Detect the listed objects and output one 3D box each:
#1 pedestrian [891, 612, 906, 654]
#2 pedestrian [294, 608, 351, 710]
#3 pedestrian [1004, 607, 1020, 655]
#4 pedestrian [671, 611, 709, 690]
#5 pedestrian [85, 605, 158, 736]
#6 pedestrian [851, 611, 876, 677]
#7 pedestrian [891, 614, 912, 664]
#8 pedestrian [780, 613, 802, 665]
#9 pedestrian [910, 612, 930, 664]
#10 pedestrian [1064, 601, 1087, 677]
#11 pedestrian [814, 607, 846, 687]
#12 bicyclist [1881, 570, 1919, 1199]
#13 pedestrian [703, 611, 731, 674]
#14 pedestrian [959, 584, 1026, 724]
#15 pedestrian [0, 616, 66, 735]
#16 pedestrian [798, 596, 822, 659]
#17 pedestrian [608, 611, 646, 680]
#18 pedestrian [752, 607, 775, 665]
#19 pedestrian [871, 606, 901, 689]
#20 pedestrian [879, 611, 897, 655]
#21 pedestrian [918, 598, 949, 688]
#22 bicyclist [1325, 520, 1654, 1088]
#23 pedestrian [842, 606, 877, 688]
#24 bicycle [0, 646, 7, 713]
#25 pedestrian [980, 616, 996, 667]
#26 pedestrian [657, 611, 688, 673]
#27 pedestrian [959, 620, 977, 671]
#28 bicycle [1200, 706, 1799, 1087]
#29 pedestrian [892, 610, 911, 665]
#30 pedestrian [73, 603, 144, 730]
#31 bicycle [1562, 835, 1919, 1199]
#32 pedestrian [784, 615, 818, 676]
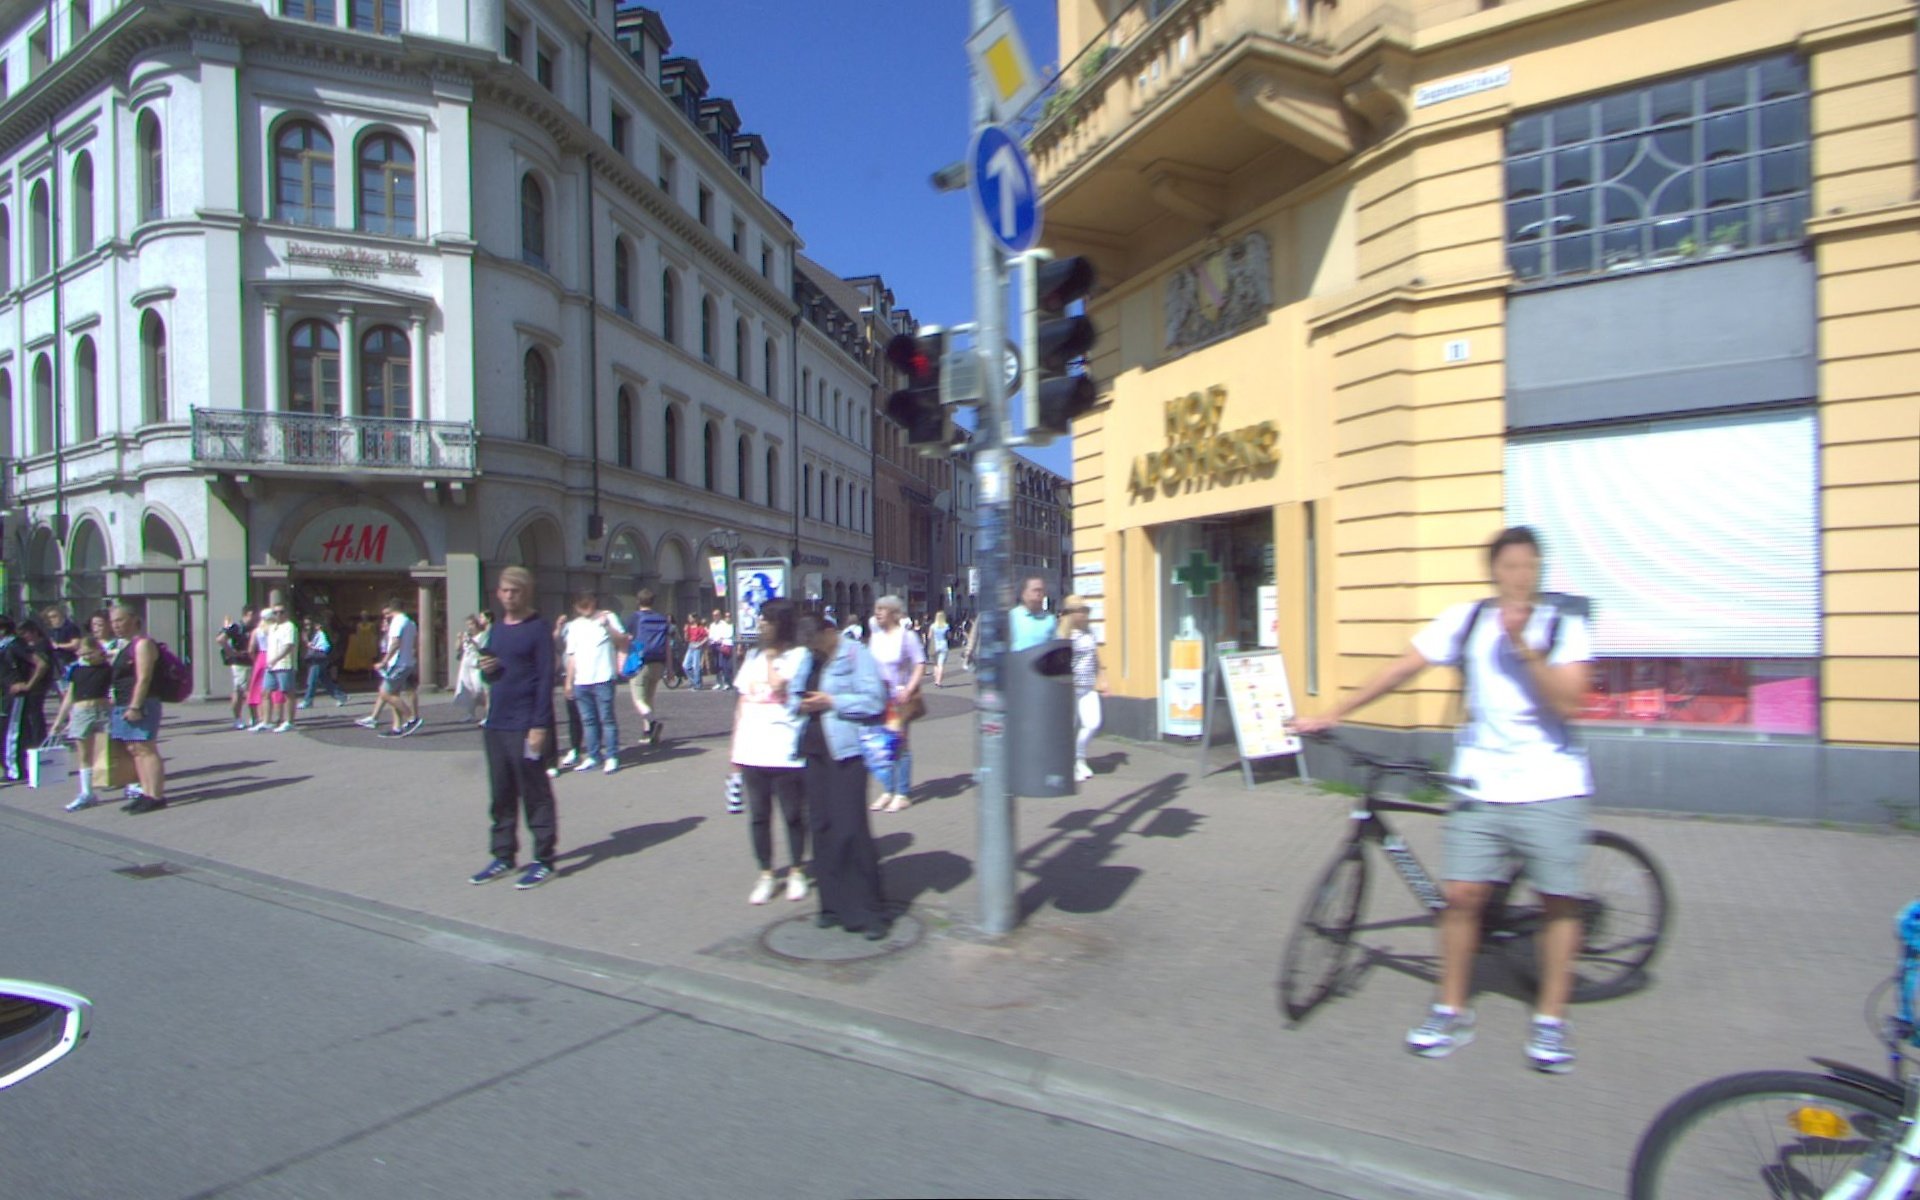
[{"bbox_3d":[-2.767,1.494,45.174,0.557,1.893,0.659,-1,0,6],"label":"pedestrian"},{"bbox_3d":[-11.429,1.041,17.955,0.668,1.786,0.609,-1,-1,30],"label":"pedestrian"},{"bbox_3d":[2.103,1.256,40.259,0.557,1.893,0.659,-1,0,9],"label":"pedestrian"},{"bbox_3d":[-5.993,1.115,22.274,0.664,1.738,0.542,0,-1,2],"label":"pedestrian"},{"bbox_3d":[-12.062,0.996,14.412,0.668,1.830,0.609,-1,-1,30],"label":"pedestrian"},{"bbox_3d":[-2.786,1.271,28.930,0.557,1.893,0.659,0,-1,6],"label":"pedestrian"},{"bbox_3d":[-2.225,1.473,38.166,0.703,1.893,0.740,0,-1,6],"label":"pedestrian"},{"bbox_3d":[-5.639,1.290,33.421,0.557,1.717,0.659,0,-1,6],"label":"pedestrian"},{"bbox_3d":[-1.383,1.325,34.679,0.557,1.774,0.659,0,-1,6],"label":"pedestrian"},{"bbox_3d":[2.925,0.987,25.371,0.557,1.893,0.659,0,-1,6],"label":"pedestrian"},{"bbox_3d":[-3.099,1.117,23.986,0.664,1.893,0.542,0,-1,2],"label":"pedestrian"},{"bbox_3d":[2.113,0.619,1.672,0.710,1.375,0.599,-1,-1,31],"label":"bicyclist"},{"bbox_3d":[-6.930,1.214,28.602,0.557,1.758,0.659,0,-1,6],"label":"pedestrian"},{"bbox_3d":[0.455,0.740,13.785,0.771,1.847,0.808,-2,-1,9],"label":"pedestrian"},{"bbox_3d":[-13.862,1.110,14.837,0.664,1.726,0.612,-1,-2,4],"label":"pedestrian"},{"bbox_3d":[-4.557,0.847,30.403,0.557,1.893,0.659,0,-1,6],"label":"pedestrian"},{"bbox_3d":[-8.371,1.148,25.195,0.665,1.701,0.612,-1,-1,10],"label":"pedestrian"},{"bbox_3d":[-6.489,1.197,33.149,0.557,1.893,0.659,0,-1,6],"label":"pedestrian"},{"bbox_3d":[-1.718,1.102,23.346,0.557,1.893,0.659,0,-1,6],"label":"pedestrian"},{"bbox_3d":[-3.190,1.480,44.500,0.557,1.892,0.659,-5,-1,6],"label":"pedestrian"},{"bbox_3d":[-0.572,0.921,21.568,0.557,1.893,0.659,0,-1,6],"label":"pedestrian"},{"bbox_3d":[1.826,0.660,3.528,0.840,1.822,0.575,-1,2,-3],"label":"bicyclist"},{"bbox_3d":[-2.332,1.087,23.339,0.668,1.893,0.659,0,-1,6],"label":"pedestrian"},{"bbox_3d":[-16.509,1.370,16.915,0.396,1.129,1.414,-1,1,-37],"label":"bicycle"},{"bbox_3d":[1.054,1.543,37.583,0.557,1.893,0.659,-1,0,3],"label":"pedestrian"},{"bbox_3d":[-7.643,1.117,26.665,0.557,1.621,0.659,0,-1,6],"label":"pedestrian"},{"bbox_3d":[0.297,1.705,37.615,0.557,1.893,0.659,-1,0,9],"label":"pedestrian"},{"bbox_3d":[1.830,0.984,3.536,1.804,1.097,0.601,-1,2,-3],"label":"bicycle"},{"bbox_3d":[-2.014,1.296,34.587,0.557,1.893,0.659,0,-1,6],"label":"pedestrian"},{"bbox_3d":[-12.628,0.971,14.847,0.668,1.830,0.609,-1,-1,30],"label":"pedestrian"},{"bbox_3d":[2.192,1.006,1.631,2.057,0.938,0.599,-2,-1,31],"label":"bicycle"},{"bbox_3d":[-4.277,1.223,27.021,0.745,1.638,0.659,0,-1,6],"label":"pedestrian"}]
